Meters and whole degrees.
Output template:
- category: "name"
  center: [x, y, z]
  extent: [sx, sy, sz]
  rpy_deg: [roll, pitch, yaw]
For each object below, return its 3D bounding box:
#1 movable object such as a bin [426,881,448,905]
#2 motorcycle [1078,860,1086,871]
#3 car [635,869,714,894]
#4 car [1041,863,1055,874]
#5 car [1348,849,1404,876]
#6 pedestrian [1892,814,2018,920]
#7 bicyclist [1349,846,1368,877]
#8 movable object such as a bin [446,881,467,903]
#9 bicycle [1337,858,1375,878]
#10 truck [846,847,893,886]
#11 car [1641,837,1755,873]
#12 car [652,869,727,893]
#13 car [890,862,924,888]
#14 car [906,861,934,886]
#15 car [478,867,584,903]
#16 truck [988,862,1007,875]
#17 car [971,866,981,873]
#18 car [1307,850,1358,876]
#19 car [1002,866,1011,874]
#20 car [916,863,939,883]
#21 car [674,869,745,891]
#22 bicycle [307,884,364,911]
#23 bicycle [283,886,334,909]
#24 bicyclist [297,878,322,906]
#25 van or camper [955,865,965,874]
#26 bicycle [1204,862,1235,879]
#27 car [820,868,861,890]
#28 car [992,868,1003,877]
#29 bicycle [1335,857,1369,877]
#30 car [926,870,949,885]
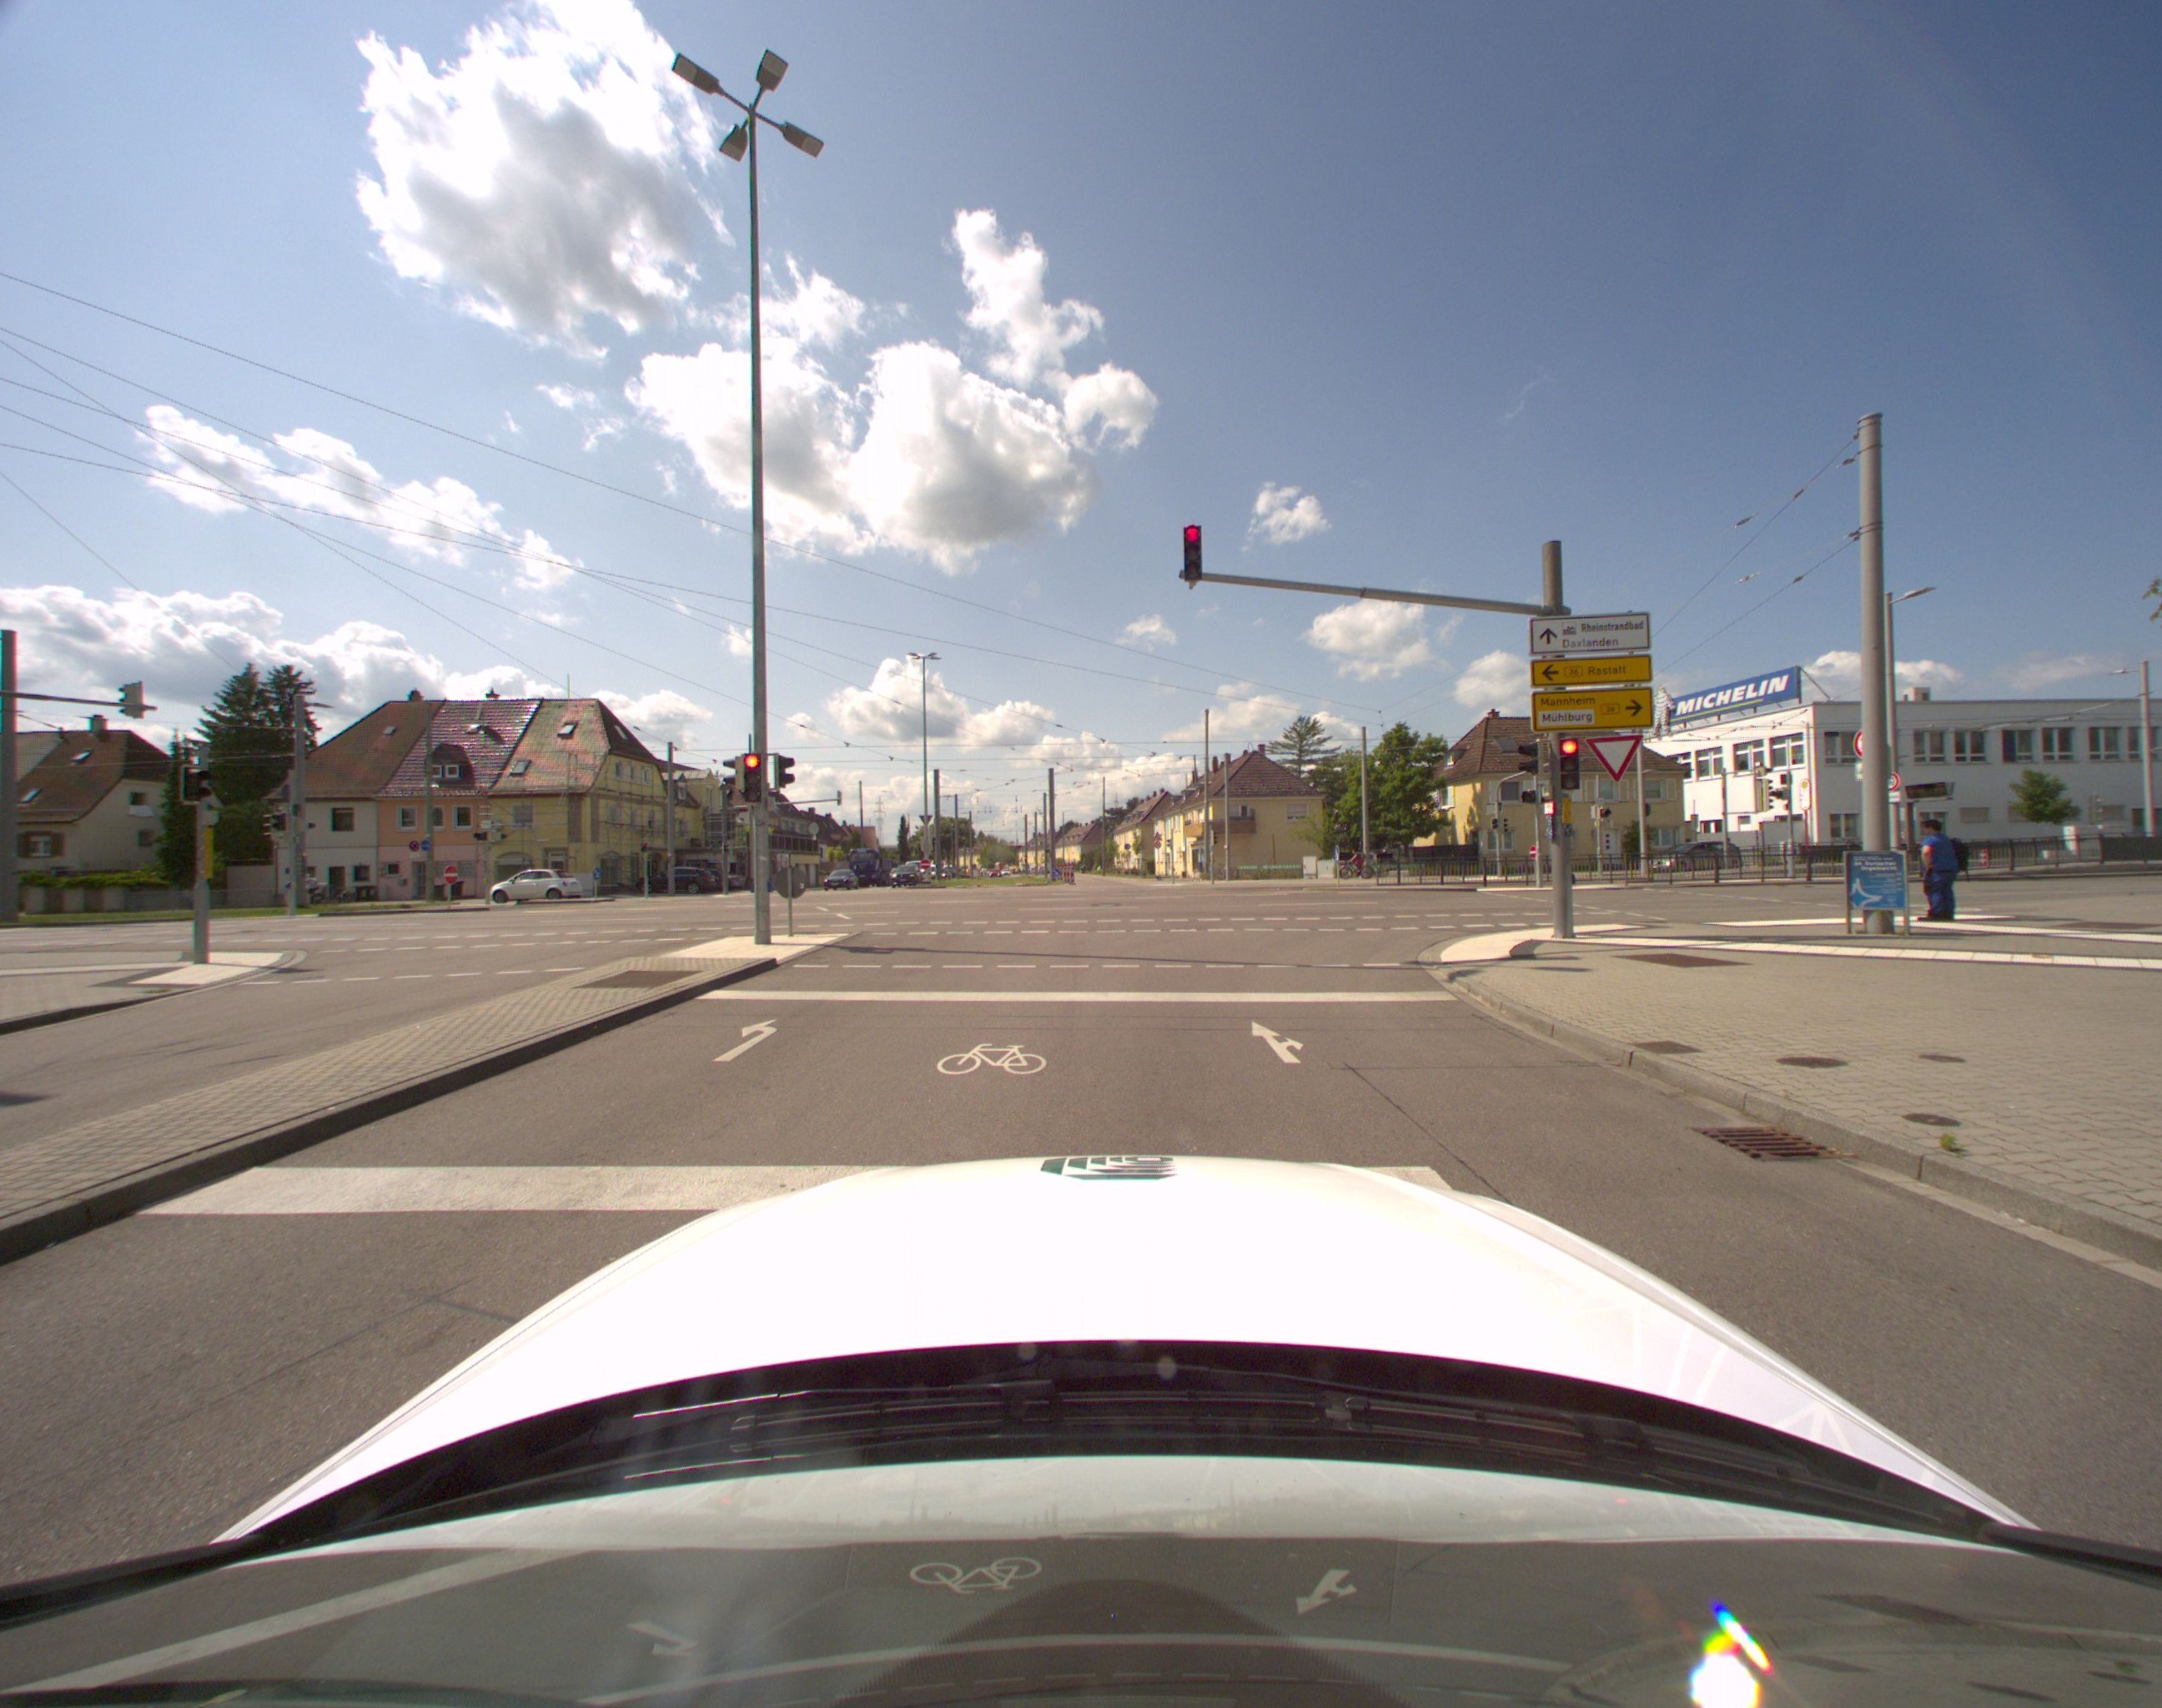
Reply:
- category: "movable object such as a bin"
  center: [-35.379, 2.135, 44.752]
  extent: [0.680, 1.260, 0.681]
  rpy_deg: [0, -1, -2]
- category: "motorcycle"
  center: [0.143, 1.859, 132.200]
  extent: [1.065, 1.635, 2.079]
  rpy_deg: [-1, -1, -6]
- category: "car"
  center: [-25.092, 1.713, 50.352]
  extent: [4.129, 1.493, 1.176]
  rpy_deg: [0, -1, -7]
- category: "car"
  center: [-6.410, 2.777, 157.618]
  extent: [2.064, 2.149, 4.865]
  rpy_deg: [-1, -1, -8]
- category: "car"
  center: [19.759, 0.589, 54.703]
  extent: [1.821, 1.621, 3.989]
  rpy_deg: [-1, -2, -8]
- category: "pedestrian"
  center: [15.090, 0.221, 14.089]
  extent: [1.027, 1.735, 1.040]
  rpy_deg: [-1, 0, -2]
- category: "bicyclist"
  center: [16.063, 0.455, 47.164]
  extent: [0.949, 1.775, 0.723]
  rpy_deg: [-2, -1, 22]
- category: "movable object such as a bin"
  center: [-35.354, 2.146, 46.087]
  extent: [0.680, 1.260, 0.681]
  rpy_deg: [0, -1, -2]
- category: "bicycle"
  center: [15.842, 0.801, 46.963]
  extent: [2.009, 1.102, 0.719]
  rpy_deg: [-2, -1, 23]
- category: "truck"
  center: [-18.170, 1.097, 70.266]
  extent: [2.765, 3.188, 7.565]
  rpy_deg: [-1, -1, -6]
- category: "car"
  center: [28.958, 0.064, 38.309]
  extent: [3.974, 1.568, 1.842]
  rpy_deg: [-2, -1, -1]
- category: "car"
  center: [-25.455, 1.734, 53.038]
  extent: [4.129, 1.493, 1.504]
  rpy_deg: [0, -1, -7]
- category: "car"
  center: [-12.785, 1.504, 60.002]
  extent: [1.783, 1.720, 4.434]
  rpy_deg: [-1, 0, -5]
- category: "car"
  center: [-13.112, 1.541, 66.431]
  extent: [1.812, 1.922, 4.737]
  rpy_deg: [-1, -1, -6]
- category: "car"
  center: [-24.261, 1.347, 36.011]
  extent: [3.533, 1.508, 1.583]
  rpy_deg: [0, -1, -4]
- category: "truck"
  center: [-22.443, 3.915, 218.288]
  extent: [2.651, 3.494, 9.368]
  rpy_deg: [-1, -1, -21]
- category: "car"
  center: [-29.907, 4.418, 231.700]
  extent: [2.000, 1.910, 3.973]
  rpy_deg: [-1, 0, -20]
- category: "car"
  center: [16.969, 0.659, 55.134]
  extent: [1.821, 1.621, 3.989]
  rpy_deg: [-1, -2, -8]
- category: "car"
  center: [-15.847, 3.351, 173.679]
  extent: [1.840, 1.562, 4.180]
  rpy_deg: [-2, -1, -5]
- category: "car"
  center: [-13.987, 1.736, 74.326]
  extent: [1.731, 1.782, 4.395]
  rpy_deg: [-2, -1, -6]
- category: "car"
  center: [-25.399, 1.791, 55.750]
  extent: [4.129, 1.493, 1.431]
  rpy_deg: [0, -1, -7]
- category: "bicycle"
  center: [-40.809, 2.354, 44.620]
  extent: [0.770, 1.356, 2.460]
  rpy_deg: [0, -1, 3]
- category: "bicycle"
  center: [-39.778, 2.245, 41.973]
  extent: [1.895, 1.078, 0.694]
  rpy_deg: [-1, 0, -2]
- category: "bicyclist"
  center: [-39.768, 1.940, 41.970]
  extent: [0.720, 1.398, 0.577]
  rpy_deg: [-1, 0, -2]
- category: "van or camper"
  center: [-38.814, 5.026, 260.348]
  extent: [2.694, 2.702, 6.490]
  rpy_deg: [-1, 0, -12]
- category: "bicycle"
  center: [9.420, 1.141, 55.458]
  extent: [0.597, 1.096, 2.252]
  rpy_deg: [-1, -2, -35]
- category: "car"
  center: [-17.243, 1.790, 58.625]
  extent: [1.824, 1.487, 4.328]
  rpy_deg: [-1, -1, -3]
- category: "car"
  center: [-14.921, 3.345, 145.765]
  extent: [1.840, 1.494, 4.847]
  rpy_deg: [-2, -1, -5]
- category: "bicycle"
  center: [16.070, 0.769, 48.290]
  extent: [1.785, 1.105, 0.707]
  rpy_deg: [-2, -1, 41]
- category: "car"
  center: [-14.263, 2.338, 81.274]
  extent: [1.912, 1.419, 3.991]
  rpy_deg: [-1, -1, -6]
